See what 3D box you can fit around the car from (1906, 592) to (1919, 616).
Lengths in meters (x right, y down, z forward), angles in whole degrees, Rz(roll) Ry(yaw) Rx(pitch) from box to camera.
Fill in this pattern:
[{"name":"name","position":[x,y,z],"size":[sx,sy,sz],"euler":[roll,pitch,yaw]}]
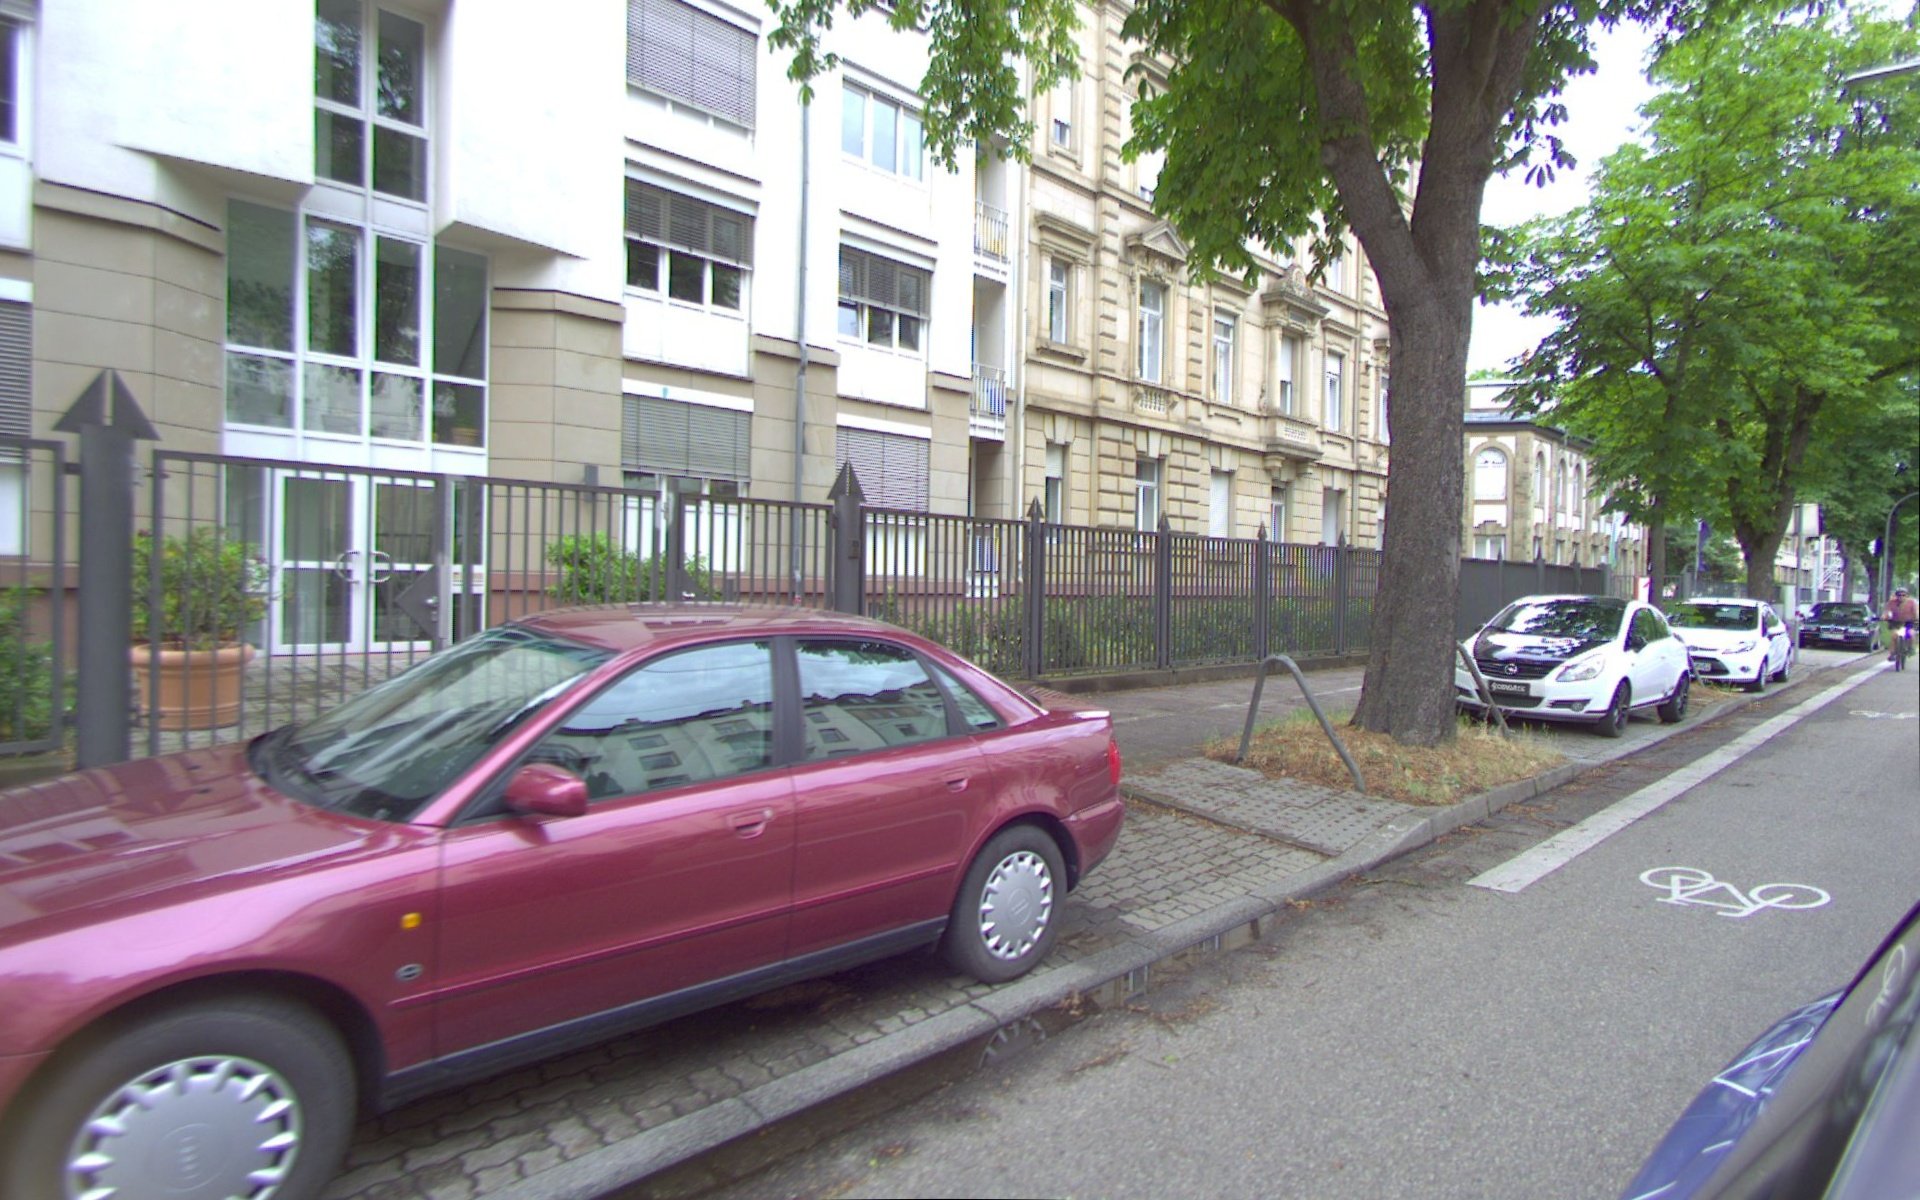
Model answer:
[{"name":"car","position":[56.277,0.250,58.785],"size":[3.772,1.387,1.604],"euler":[0,3,-43]}]

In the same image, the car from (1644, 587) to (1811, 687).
[{"name":"car","position":[13.202,0.551,17.342],"size":[3.701,1.453,1.630],"euler":[0,3,-43]}]

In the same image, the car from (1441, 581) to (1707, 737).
[{"name":"car","position":[7.213,0.566,11.751],"size":[3.712,1.453,1.605],"euler":[0,3,-42]}]

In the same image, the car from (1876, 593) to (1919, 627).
[{"name":"car","position":[42.301,0.437,45.262],"size":[3.772,1.387,1.604],"euler":[0,3,-43]}]

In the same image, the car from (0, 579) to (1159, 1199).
[{"name":"car","position":[-1.178,0.684,3.744],"size":[4.156,1.416,1.604],"euler":[0,3,-43]}]

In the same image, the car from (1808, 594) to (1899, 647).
[{"name":"car","position":[26.433,0.561,29.902],"size":[3.772,1.387,1.604],"euler":[0,3,-43]}]

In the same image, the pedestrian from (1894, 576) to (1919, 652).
[{"name":"pedestrian","position":[19.969,0.288,21.075],"size":[0.692,1.569,0.683],"euler":[0,1,-43]}]

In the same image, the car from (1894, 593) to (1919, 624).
[{"name":"car","position":[47.602,0.423,50.162],"size":[3.772,1.442,1.604],"euler":[0,3,-43]}]

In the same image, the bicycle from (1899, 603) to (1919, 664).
[{"name":"bicycle","position":[20.047,0.689,21.194],"size":[1.678,1.219,0.413],"euler":[0,1,-43]}]
